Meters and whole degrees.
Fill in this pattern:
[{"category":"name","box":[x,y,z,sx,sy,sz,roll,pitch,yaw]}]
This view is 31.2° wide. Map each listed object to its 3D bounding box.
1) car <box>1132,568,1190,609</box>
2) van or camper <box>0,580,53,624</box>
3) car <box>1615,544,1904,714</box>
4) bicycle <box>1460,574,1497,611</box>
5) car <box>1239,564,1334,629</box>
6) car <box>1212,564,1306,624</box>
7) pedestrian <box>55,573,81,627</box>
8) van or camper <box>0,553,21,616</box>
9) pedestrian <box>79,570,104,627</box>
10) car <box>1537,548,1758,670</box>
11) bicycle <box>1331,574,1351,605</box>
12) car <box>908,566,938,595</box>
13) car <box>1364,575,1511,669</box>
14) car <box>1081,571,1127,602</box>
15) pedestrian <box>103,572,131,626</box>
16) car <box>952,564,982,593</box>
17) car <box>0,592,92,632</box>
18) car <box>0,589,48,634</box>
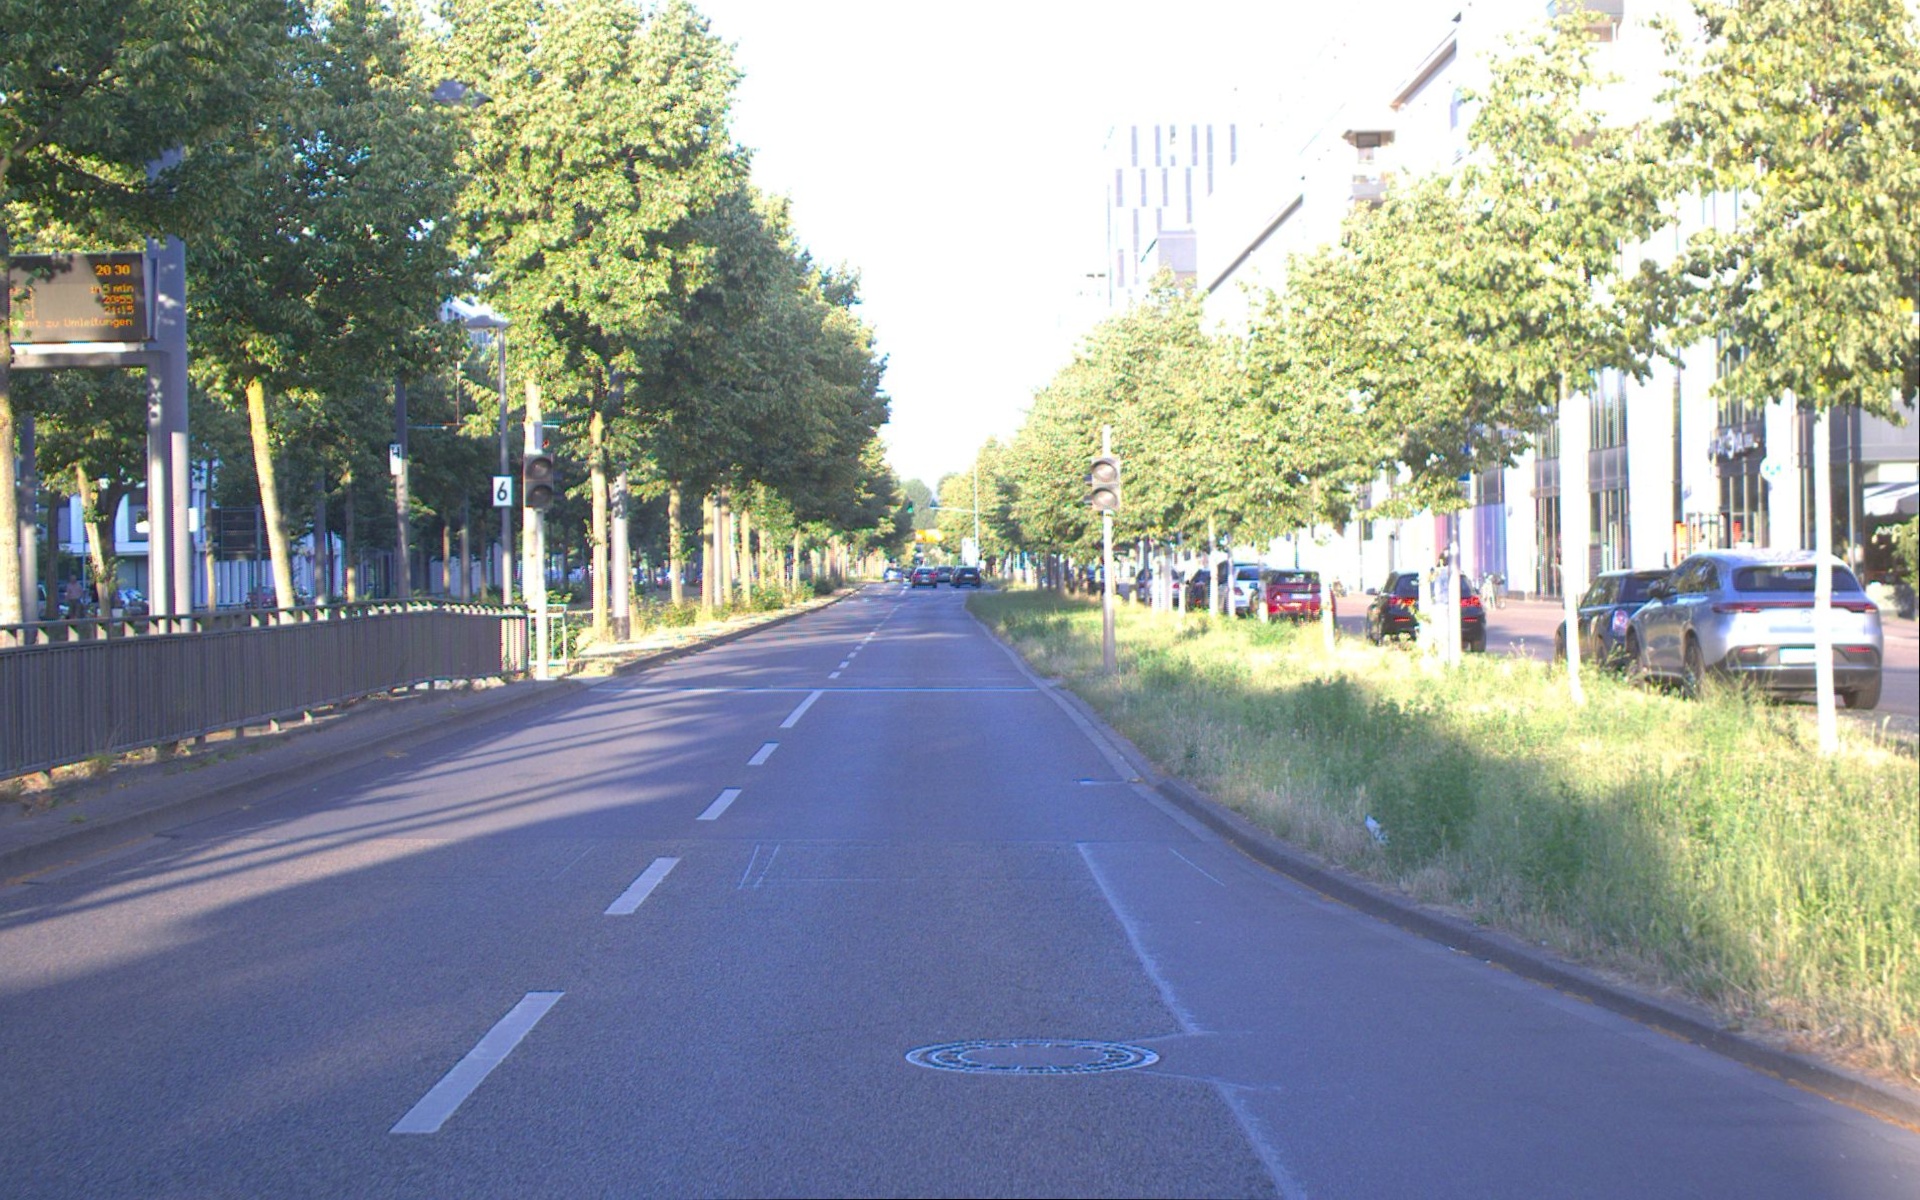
[{"category":"car","box":[7.649,-0.451,131.010,1.808,1.496,4.826,-1,1,-1]},{"category":"van or camper","box":[-39.612,0.089,141.905,3.986,1.785,2.001,-1,0,-10]},{"category":"car","box":[8.222,0.258,35.770,1.808,1.626,4.676,-1,1,-1]},{"category":"bicycle","box":[14.539,-0.217,96.402,0.620,1.029,2.261,-1,0,-2]},{"category":"car","box":[7.801,-0.097,82.404,1.808,1.496,3.960,-1,1,-1]},{"category":"car","box":[7.808,-0.186,90.204,1.920,1.496,5.010,-1,1,-1]},{"category":"pedestrian","box":[-29.158,-0.004,112.424,0.693,1.753,0.866,-1,0,-8]},{"category":"van or camper","box":[-48.267,-0.748,168.064,2.710,3.075,6.261,-1,0,3]},{"category":"pedestrian","box":[-28.515,-0.060,112.873,0.693,1.864,0.866,-1,0,-8]},{"category":"car","box":[8.171,0.084,41.174,1.749,1.393,4.000,0,1,-1]},{"category":"bicycle","box":[14.925,-0.419,134.719,0.538,1.160,1.781,-3,1,0]},{"category":"car","box":[-2.626,-1.369,242.566,2.087,2.007,4.000,-1,1,-1]},{"category":"car","box":[8.096,0.341,58.613,1.808,1.496,4.369,-1,1,-1]},{"category":"car","box":[7.332,-0.684,175.211,1.943,1.543,4.812,-1,0,-2]},{"category":"pedestrian","box":[-27.574,-0.025,112.491,0.693,1.737,0.866,-1,0,-2]},{"category":"car","box":[0.504,-1.527,244.287,1.993,2.007,4.000,-1,1,-1]},{"category":"car","box":[-39.575,0.520,147.737,3.988,1.634,1.922,-1,0,7]},{"category":"car","box":[-32.530,0.389,116.549,1.994,1.481,4.000,-1,0,3]}]
